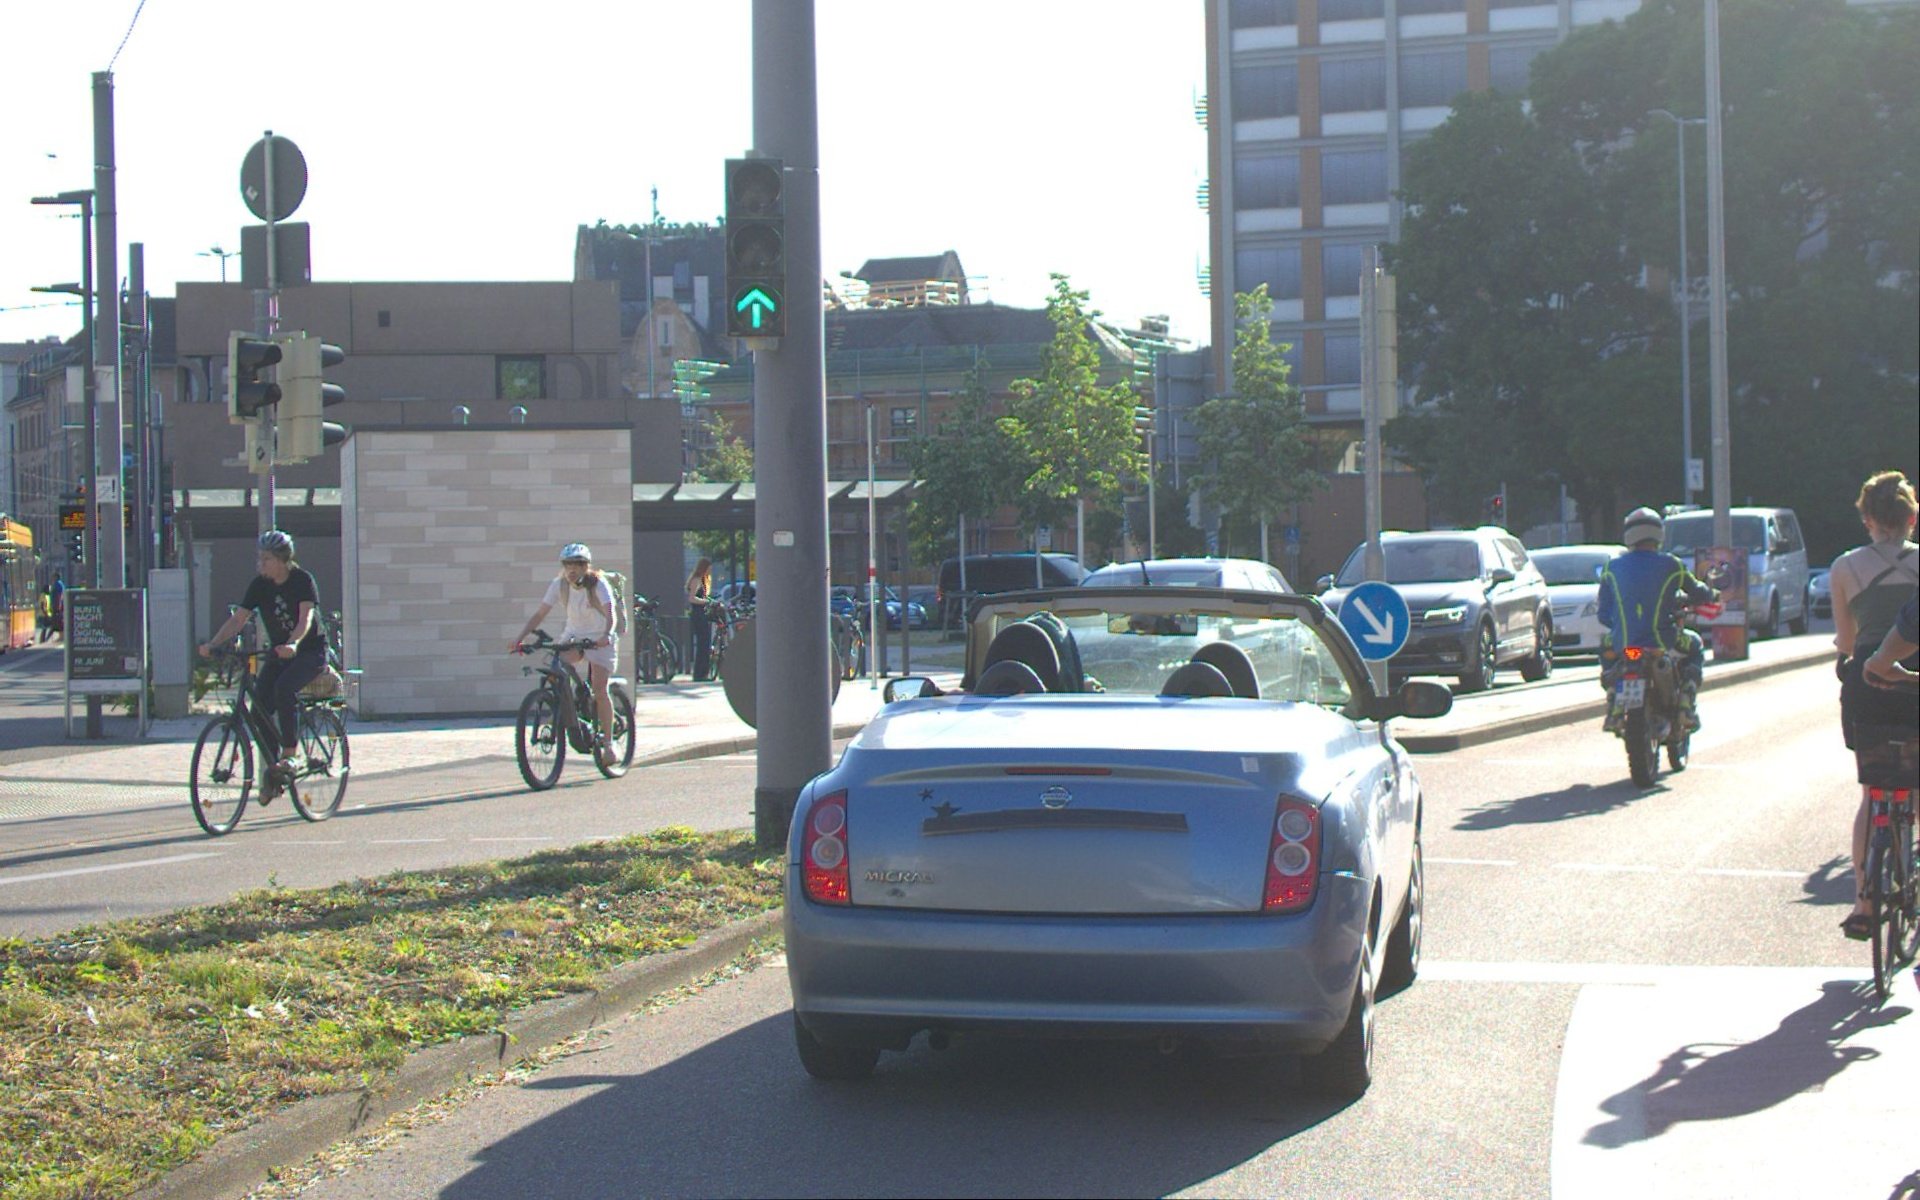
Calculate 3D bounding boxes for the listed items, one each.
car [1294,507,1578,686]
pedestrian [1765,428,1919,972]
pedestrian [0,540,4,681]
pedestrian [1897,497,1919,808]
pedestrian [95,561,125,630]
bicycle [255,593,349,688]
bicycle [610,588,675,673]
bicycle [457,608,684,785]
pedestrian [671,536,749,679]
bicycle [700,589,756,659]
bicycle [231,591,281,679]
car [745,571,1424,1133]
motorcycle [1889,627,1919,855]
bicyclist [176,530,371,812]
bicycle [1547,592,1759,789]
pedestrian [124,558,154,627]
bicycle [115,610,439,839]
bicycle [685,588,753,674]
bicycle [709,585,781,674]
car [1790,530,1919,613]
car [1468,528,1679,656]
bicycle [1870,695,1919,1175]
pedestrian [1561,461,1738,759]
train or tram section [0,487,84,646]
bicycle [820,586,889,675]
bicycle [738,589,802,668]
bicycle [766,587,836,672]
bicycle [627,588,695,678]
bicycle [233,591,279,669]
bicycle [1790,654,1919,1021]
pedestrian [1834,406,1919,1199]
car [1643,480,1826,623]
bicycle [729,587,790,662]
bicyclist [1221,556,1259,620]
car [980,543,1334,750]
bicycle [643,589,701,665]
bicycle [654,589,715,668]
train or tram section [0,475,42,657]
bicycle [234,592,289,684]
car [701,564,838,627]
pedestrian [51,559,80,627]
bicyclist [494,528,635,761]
[{"bbox_3d":[5.043,-0.066,35.904,1.763,1.700,4.525,-2,0,23],"label":"car"},{"bbox_3d":[3.227,0.340,12.251,0.659,1.862,0.872,1,0,14],"label":"pedestrian"},{"bbox_3d":[-12.255,0.132,42.761,0.637,1.743,0.572,-1,0,-19],"label":"pedestrian"},{"bbox_3d":[5.240,0.272,18.020,0.588,1.593,1.024,1,0,17],"label":"pedestrian"},{"bbox_3d":[-21.569,-0.122,87.250,0.637,1.743,0.736,-1,0,-19],"label":"pedestrian"},{"bbox_3d":[-7.954,0.479,41.622,0.607,1.111,1.896,1,0,5],"label":"bicycle"},{"bbox_3d":[-4.294,0.405,46.391,0.606,1.111,1.897,1,0,-13],"label":"bicycle"},{"bbox_3d":[-2.790,0.674,24.878,0.675,1.176,2.181,-1,1,21],"label":"bicycle"},{"bbox_3d":[-3.305,0.093,45.443,0.900,1.862,0.687,1,0,-13],"label":"pedestrian"},{"bbox_3d":[-3.785,0.378,55.945,0.606,1.111,1.897,1,0,-13],"label":"bicycle"},{"bbox_3d":[-9.240,0.450,45.140,0.606,1.111,1.897,1,0,-11],"label":"bicycle"},{"bbox_3d":[0.591,0.646,11.110,1.661,1.436,4.153,1,0,9],"label":"car"},{"bbox_3d":[5.226,0.707,18.006,0.614,1.094,2.358,1,0,17],"label":"motorcycle"},{"bbox_3d":[-4.175,0.423,20.954,0.709,1.652,0.900,-3,0,21],"label":"bicyclist"},{"bbox_3d":[4.478,0.551,22.080,0.609,1.187,2.410,1,0,29],"label":"bicycle"},{"bbox_3d":[-20.880,-0.192,87.461,0.637,1.743,0.736,-1,0,-19],"label":"pedestrian"},{"bbox_3d":[-4.128,0.727,21.026,0.675,1.246,2.454,-3,0,21],"label":"bicycle"},{"bbox_3d":[-3.260,0.408,46.396,0.606,1.111,1.897,1,0,-13],"label":"bicycle"},{"bbox_3d":[-2.791,0.368,44.468,0.606,1.111,1.897,1,0,-13],"label":"bicycle"},{"bbox_3d":[18.215,-0.579,67.791,1.803,1.525,3.990,-2,0,43],"label":"car"},{"bbox_3d":[7.930,-0.129,44.198,1.697,1.555,3.974,-1,1,25],"label":"car"},{"bbox_3d":[2.626,0.850,8.140,0.554,1.167,2.372,1,0,6],"label":"bicycle"},{"bbox_3d":[4.433,0.057,22.073,0.834,1.862,0.919,1,0,30],"label":"pedestrian"},{"bbox_3d":[-23.368,-0.826,83.618,3.039,3.584,12.054,1,0,-10],"label":"train or tram section"},{"bbox_3d":[-1.384,0.386,44.784,0.606,1.111,1.897,1,0,-10],"label":"bicycle"},{"bbox_3d":[-2.802,0.407,50.476,0.606,1.111,1.897,1,0,-13],"label":"bicycle"},{"bbox_3d":[-2.177,0.390,46.793,0.606,1.111,1.897,1,0,-13],"label":"bicycle"},{"bbox_3d":[-3.864,0.412,44.317,0.606,1.111,1.897,1,0,-13],"label":"bicycle"},{"bbox_3d":[-10.452,0.438,51.007,0.606,1.111,1.897,1,0,-13],"label":"bicycle"},{"bbox_3d":[3.229,0.787,12.120,0.564,1.147,1.948,1,0,14],"label":"bicycle"},{"bbox_3d":[2.640,0.481,8.480,0.806,1.862,0.956,1,0,8],"label":"pedestrian"},{"bbox_3d":[11.495,-0.711,50.798,1.910,1.939,4.701,-2,0,21],"label":"car"},{"bbox_3d":[-3.069,0.369,52.445,0.606,1.111,1.897,1,0,-13],"label":"bicycle"},{"bbox_3d":[7.050,-0.308,86.539,0.753,1.593,0.588,1,0,29],"label":"bicyclist"},{"bbox_3d":[1.708,0.351,28.449,1.738,1.568,3.920,1,0,22],"label":"car"},{"bbox_3d":[-4.380,0.405,52.226,0.606,1.111,1.897,1,0,-13],"label":"bicycle"},{"bbox_3d":[-4.031,0.408,50.262,0.606,1.111,1.897,1,0,-13],"label":"bicycle"},{"bbox_3d":[-21.191,-0.723,71.711,3.011,3.584,12.203,1,0,-11],"label":"train or tram section"},{"bbox_3d":[-8.789,0.467,43.219,0.606,1.111,1.897,1,0,-13],"label":"bicycle"},{"bbox_3d":[-4.879,-0.111,87.671,1.640,1.555,3.599,-2,1,-40],"label":"car"},{"bbox_3d":[-23.136,-0.179,88.948,0.604,1.743,0.832,-1,0,-8],"label":"pedestrian"},{"bbox_3d":[-2.842,0.313,24.758,0.709,1.651,0.742,-1,0,21],"label":"bicyclist"}]
